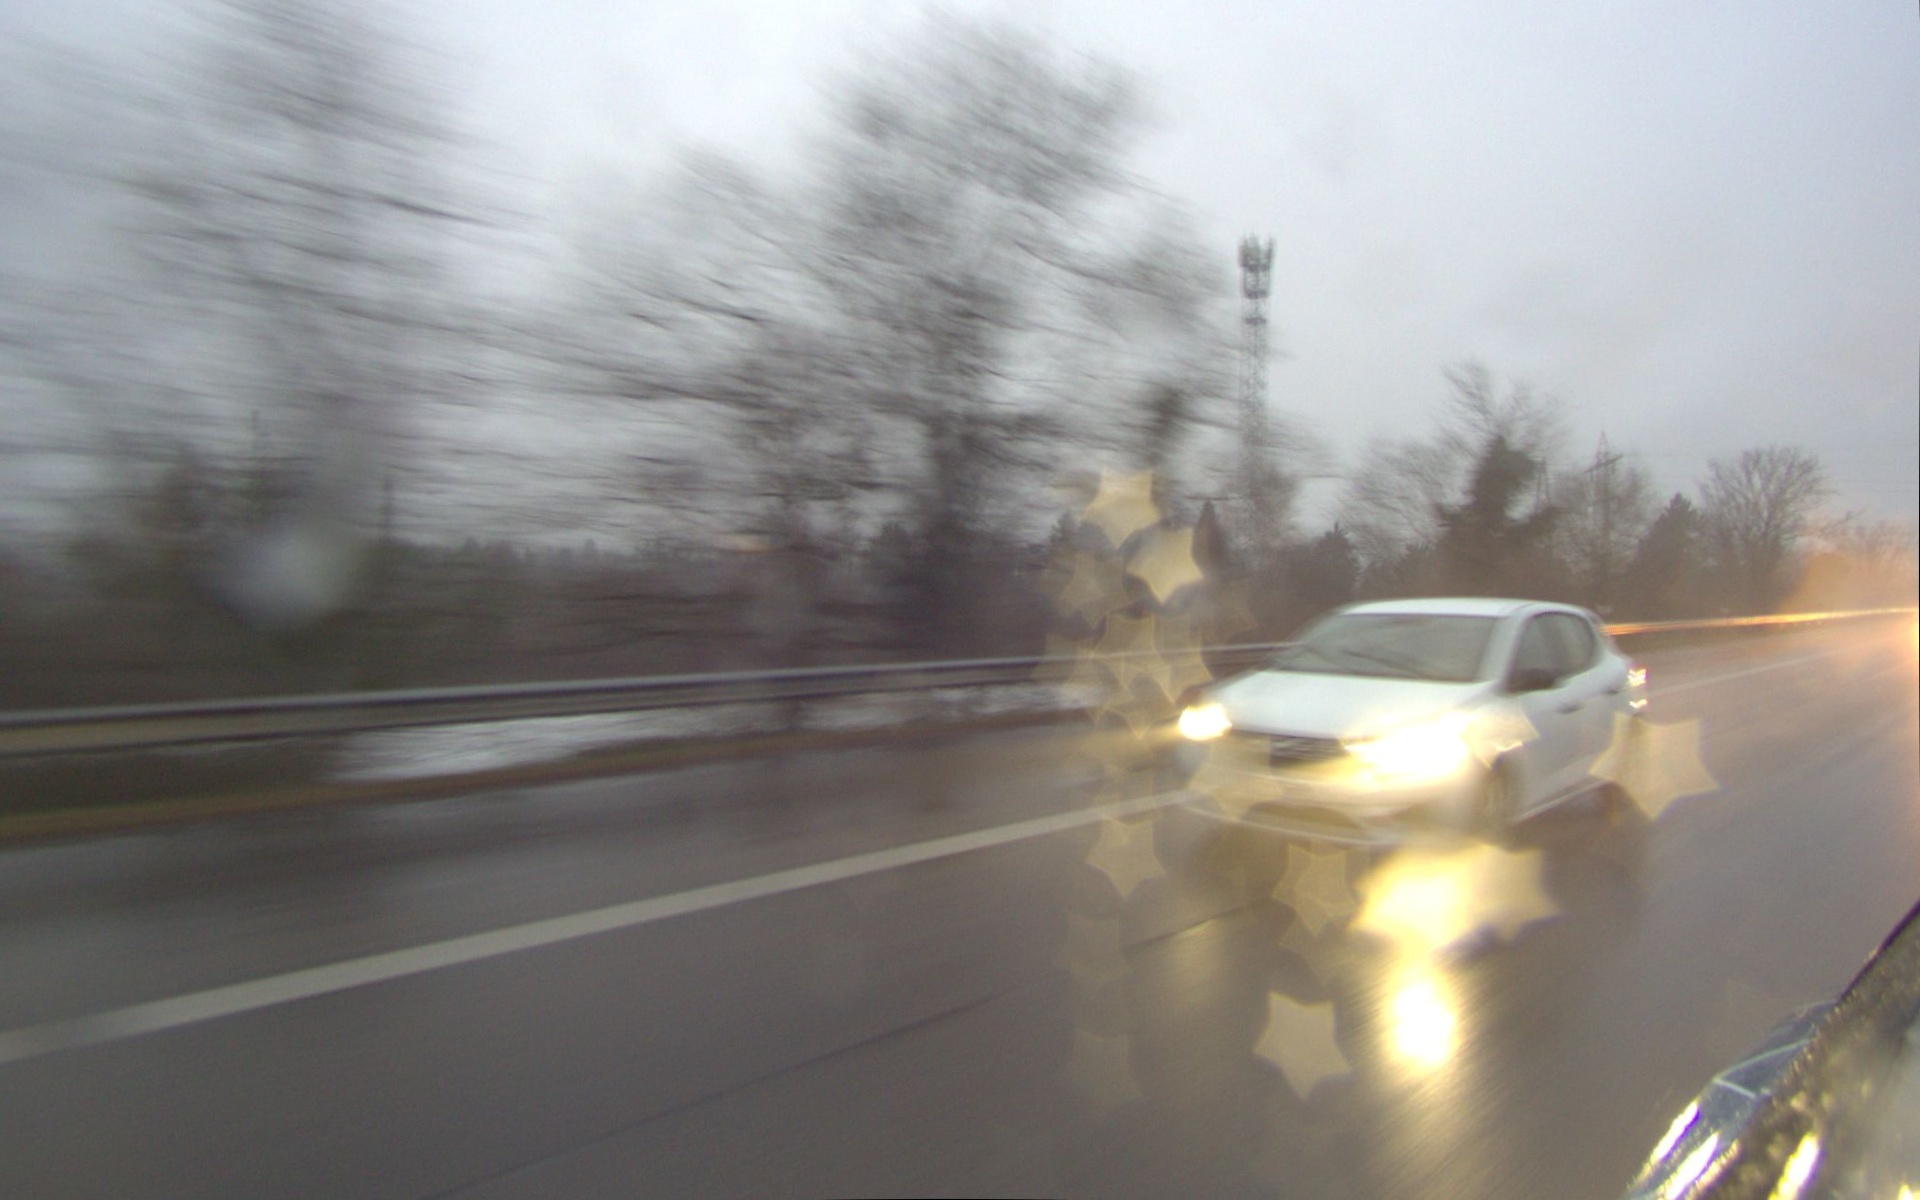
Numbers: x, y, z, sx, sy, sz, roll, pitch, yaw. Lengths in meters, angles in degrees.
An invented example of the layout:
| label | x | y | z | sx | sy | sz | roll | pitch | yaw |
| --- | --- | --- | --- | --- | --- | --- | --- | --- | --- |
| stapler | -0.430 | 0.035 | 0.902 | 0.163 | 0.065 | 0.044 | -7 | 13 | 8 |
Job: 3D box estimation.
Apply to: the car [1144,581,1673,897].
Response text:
| label | x | y | z | sx | sy | sz | roll | pitch | yaw |
| --- | --- | --- | --- | --- | --- | --- | --- | --- | --- |
| car | 3.198 | 0.670 | 6.858 | 3.930 | 1.522 | 1.800 | 0 | 0 | -41 |
